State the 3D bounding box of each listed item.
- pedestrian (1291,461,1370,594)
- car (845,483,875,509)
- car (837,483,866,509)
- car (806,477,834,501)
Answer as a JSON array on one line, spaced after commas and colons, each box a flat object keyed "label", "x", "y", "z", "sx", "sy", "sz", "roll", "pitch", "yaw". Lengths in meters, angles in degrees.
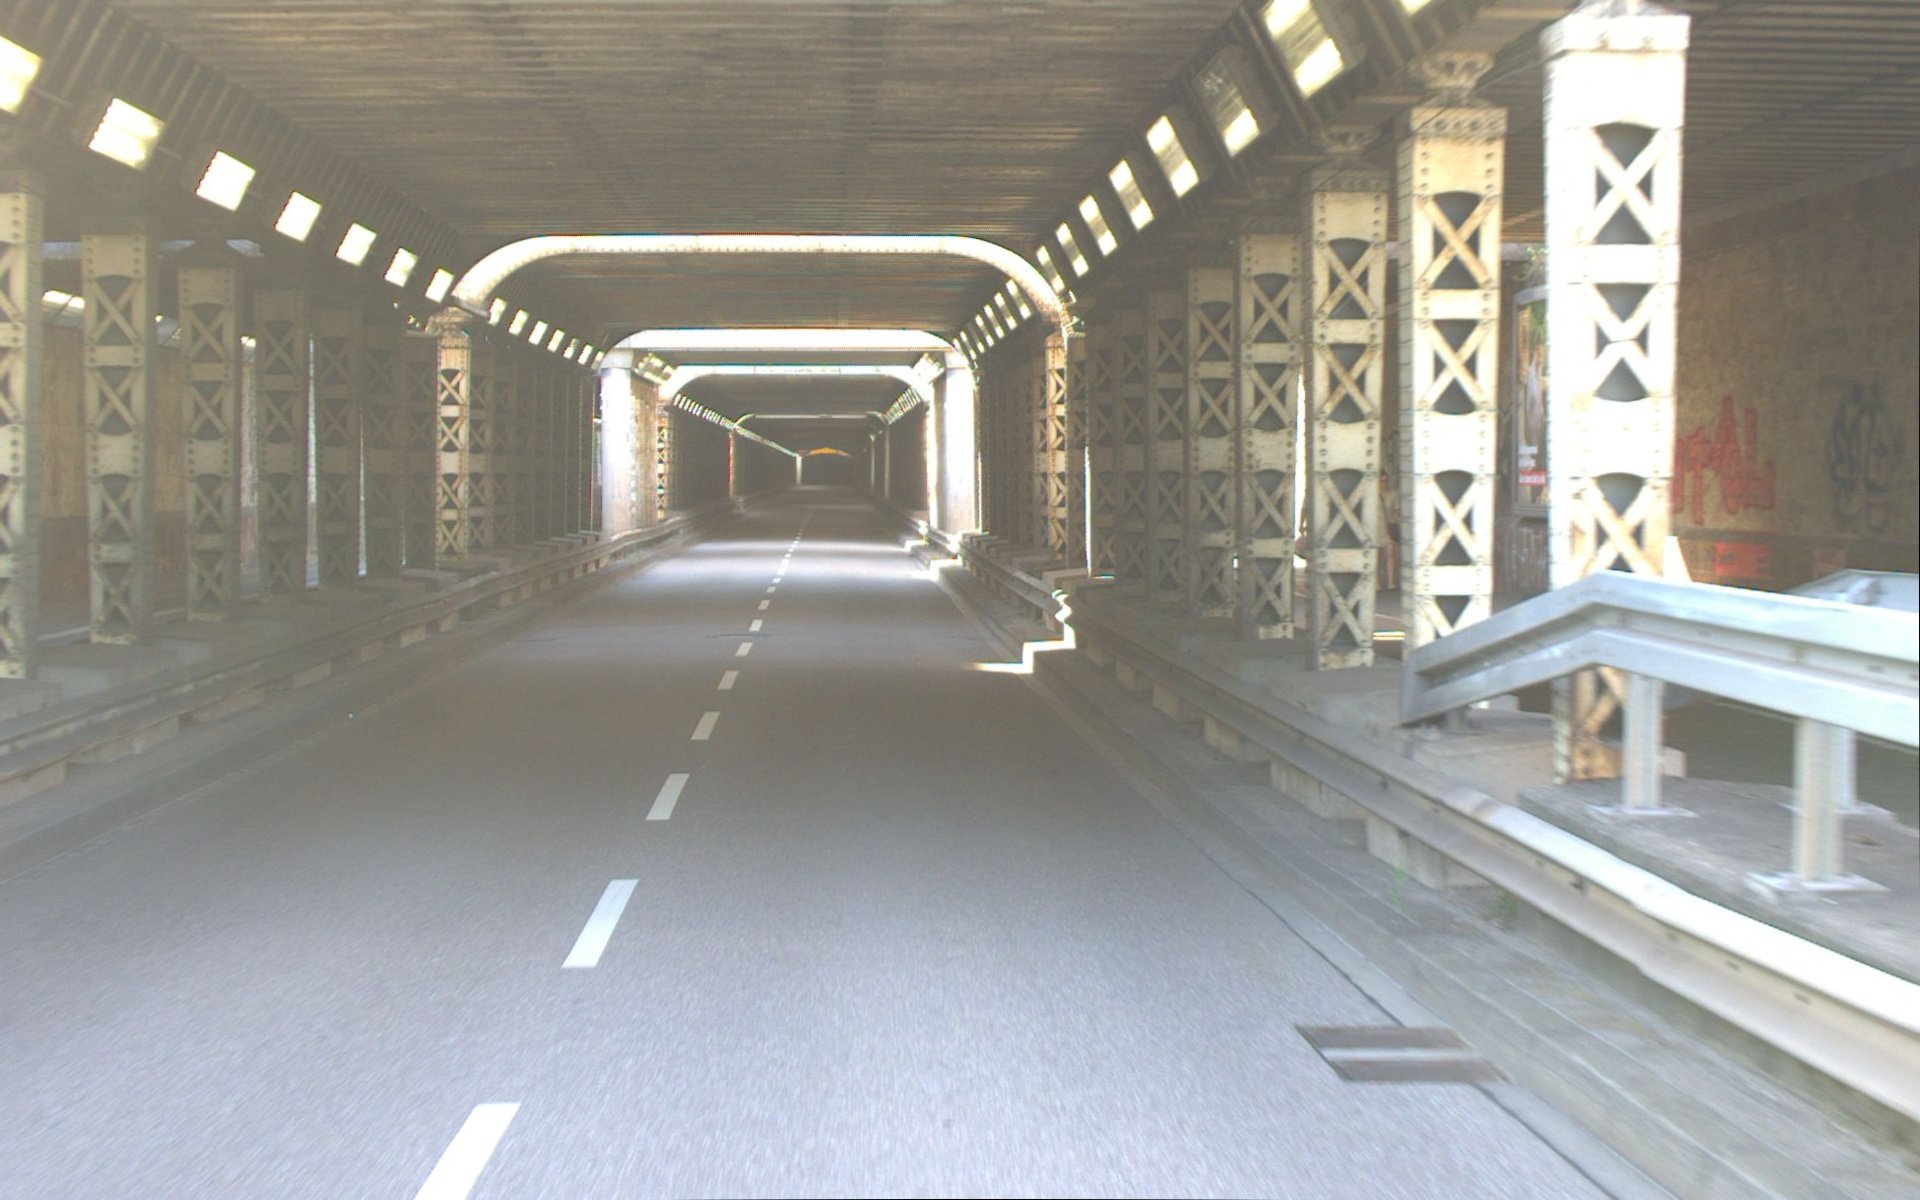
[{"label": "pedestrian", "x": 5.244, "y": -1.029, "z": 48.692, "sx": 0.880, "sy": 1.829, "sz": 0.923, "roll": -2, "pitch": 2, "yaw": -5}, {"label": "car", "x": -6.885, "y": -7.150, "z": 236.373, "sx": 1.993, "sy": 1.777, "sz": 4.001, "roll": 0, "pitch": 2, "yaw": -2}, {"label": "car", "x": -7.753, "y": -7.446, "z": 245.635, "sx": 1.993, "sy": 1.777, "sz": 4.001, "roll": 0, "pitch": 2, "yaw": -2}, {"label": "car", "x": -10.248, "y": -8.159, "z": 252.139, "sx": 1.993, "sy": 1.777, "sz": 4.001, "roll": 0, "pitch": 2, "yaw": -2}]
